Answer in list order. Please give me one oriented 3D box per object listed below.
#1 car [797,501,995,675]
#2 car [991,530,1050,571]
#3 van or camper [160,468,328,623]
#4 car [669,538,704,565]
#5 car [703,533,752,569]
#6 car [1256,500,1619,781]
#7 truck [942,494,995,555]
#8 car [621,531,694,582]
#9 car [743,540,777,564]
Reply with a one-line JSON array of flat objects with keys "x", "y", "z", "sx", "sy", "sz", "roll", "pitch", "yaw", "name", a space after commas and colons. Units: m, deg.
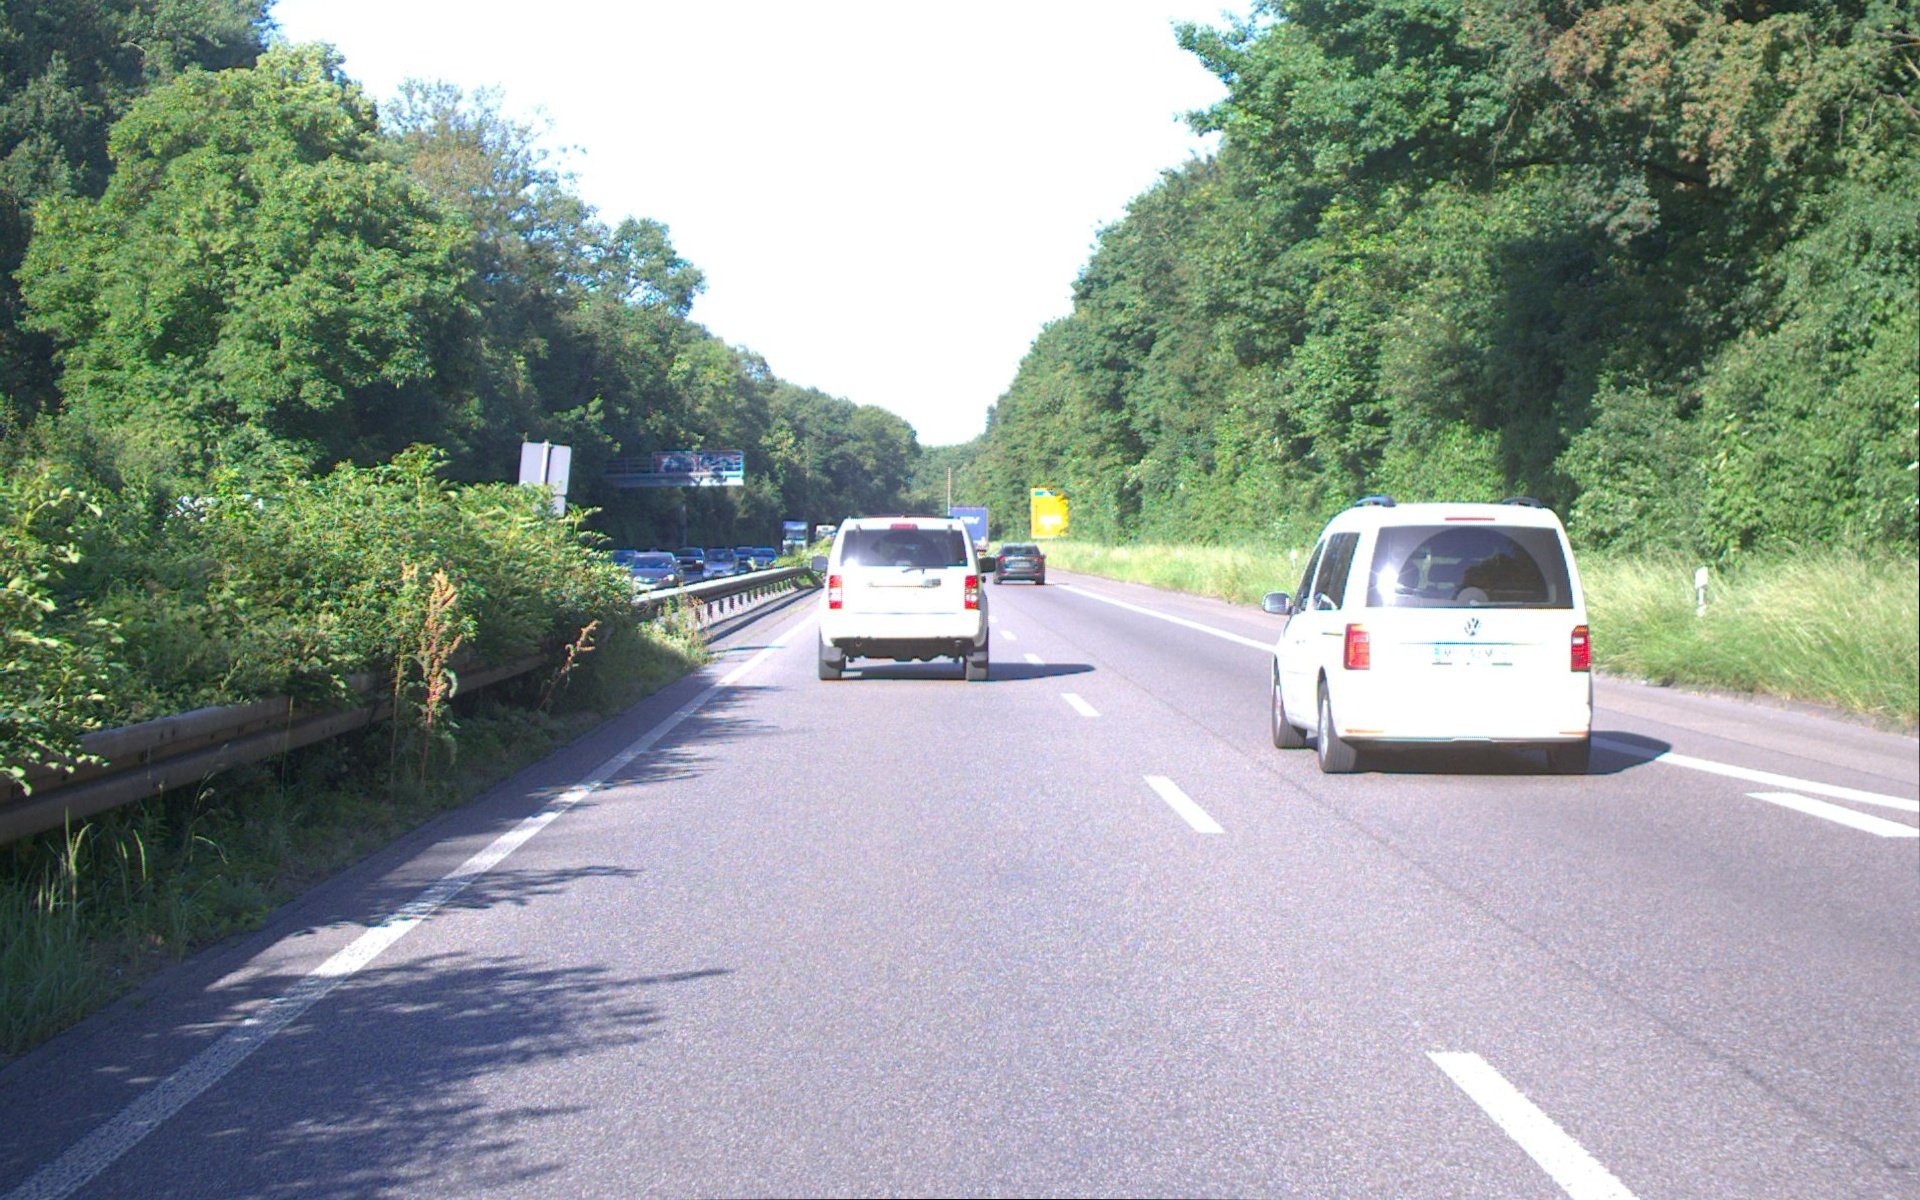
[{"x": -0.762, "y": -0.168, "z": 38.116, "sx": 2.085, "sy": 1.822, "sz": 4.001, "roll": 0, "pitch": 1, "yaw": -3, "name": "car"}, {"x": 2.152, "y": -1.791, "z": 123.347, "sx": 1.993, "sy": 1.393, "sz": 4.000, "roll": 1, "pitch": 1, "yaw": -1, "name": "car"}, {"x": -13.100, "y": -1.014, "z": 63.184, "sx": 1.993, "sy": 2.712, "sz": 5.254, "roll": -1, "pitch": 1, "yaw": 0, "name": "van or camper"}, {"x": -15.285, "y": -2.735, "z": 192.455, "sx": 1.718, "sy": 1.440, "sz": 4.229, "roll": 0, "pitch": 1, "yaw": -1, "name": "car"}, {"x": -10.118, "y": -2.161, "z": 149.828, "sx": 1.877, "sy": 1.535, "sz": 4.465, "roll": -1, "pitch": 1, "yaw": -1, "name": "car"}, {"x": 3.208, "y": 0.202, "z": 23.961, "sx": 1.863, "sy": 1.764, "sz": 4.470, "roll": 0, "pitch": 1, "yaw": 0, "name": "car"}, {"x": 0.565, "y": -5.264, "z": 239.479, "sx": 3.496, "sy": 4.158, "sz": 8.862, "roll": -1, "pitch": 1, "yaw": -1, "name": "truck"}, {"x": -9.541, "y": -1.392, "z": 108.769, "sx": 1.960, "sy": 1.535, "sz": 4.465, "roll": 0, "pitch": 1, "yaw": -1, "name": "car"}, {"x": -11.467, "y": -2.781, "z": 197.268, "sx": 1.835, "sy": 1.352, "sz": 4.475, "roll": 0, "pitch": 1, "yaw": -1, "name": "car"}]
